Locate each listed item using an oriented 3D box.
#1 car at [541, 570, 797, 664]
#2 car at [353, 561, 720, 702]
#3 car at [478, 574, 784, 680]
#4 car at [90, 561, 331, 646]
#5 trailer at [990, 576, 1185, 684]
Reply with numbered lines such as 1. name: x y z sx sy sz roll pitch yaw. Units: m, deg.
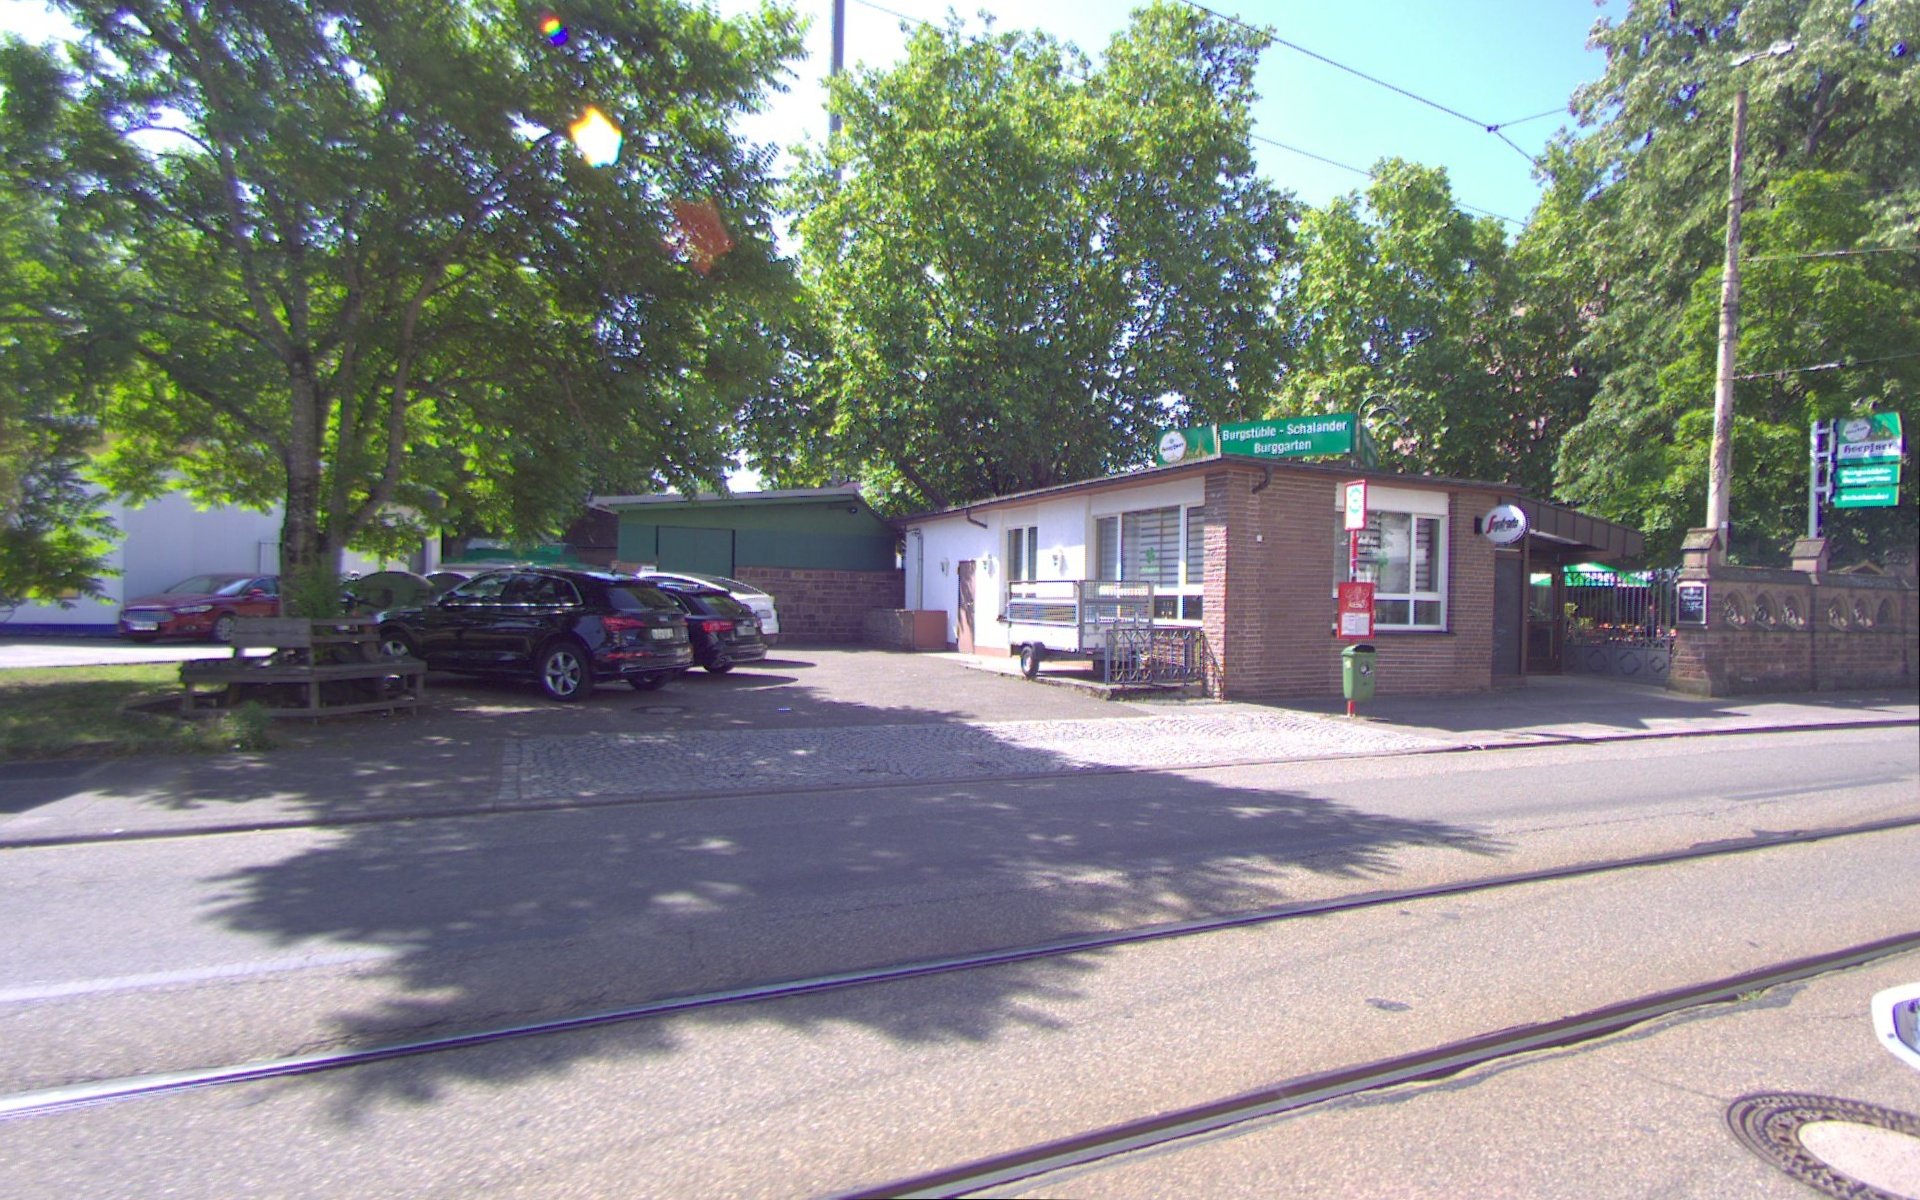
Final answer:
1. car: -5.642 0.283 19.509 4.489 1.604 1.949 2 0 21
2. car: -5.774 0.352 13.753 4.488 1.647 1.949 2 0 20
3. car: -5.356 0.382 16.417 4.488 1.487 1.949 2 0 20
4. car: -15.608 0.053 21.251 1.899 1.547 4.172 2 0 1
5. trailer: 1.956 0.422 16.274 1.752 1.546 3.207 1 0 -23
